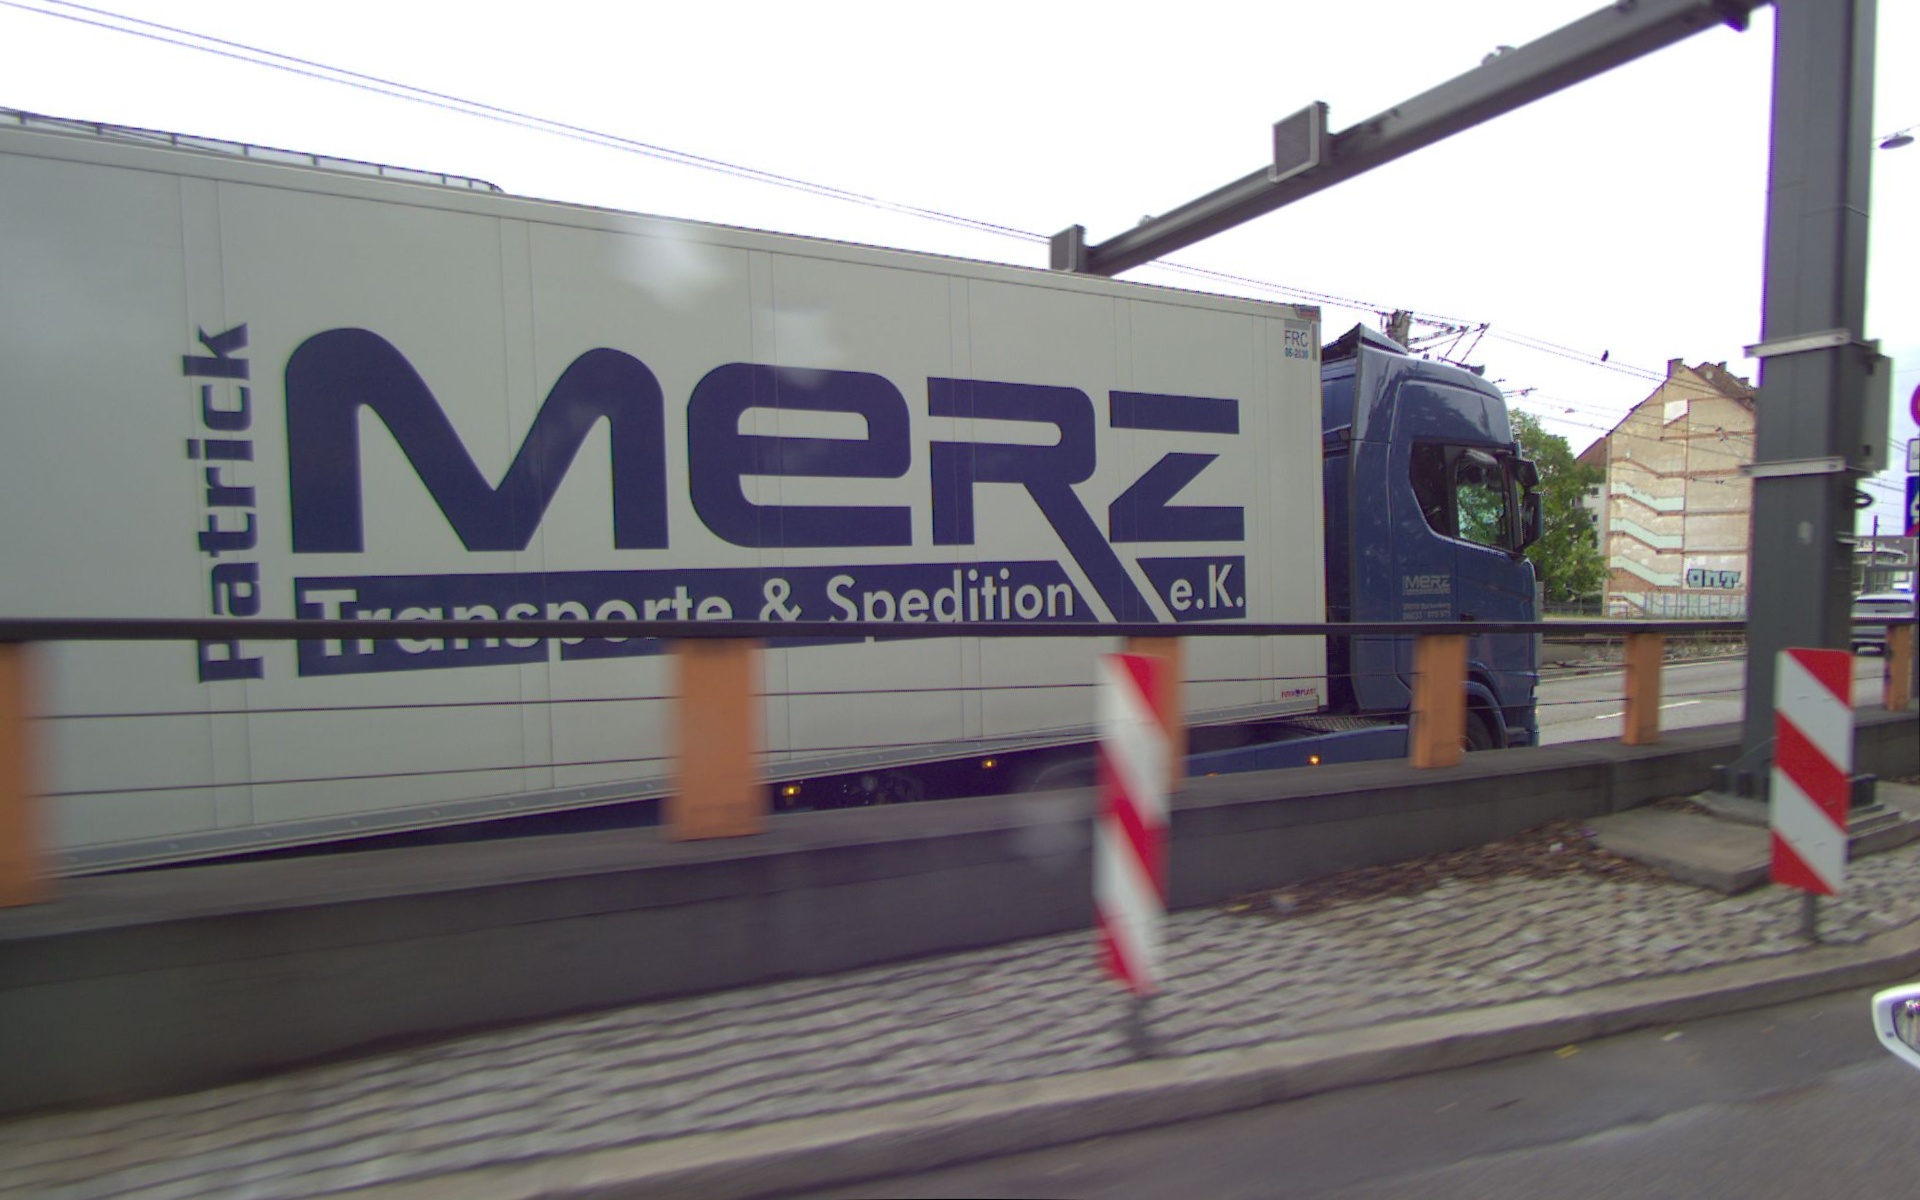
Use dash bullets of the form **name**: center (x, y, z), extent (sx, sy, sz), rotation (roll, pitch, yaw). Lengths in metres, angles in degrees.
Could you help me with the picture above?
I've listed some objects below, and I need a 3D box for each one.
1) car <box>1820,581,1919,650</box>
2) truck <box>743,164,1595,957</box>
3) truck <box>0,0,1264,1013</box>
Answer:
- **car**: center (23.467, 0.383, 25.053), extent (4.042, 1.586, 1.813), rotation (1, 0, -29)
- **truck**: center (1.903, -0.189, 8.260), extent (6.702, 4.253, 2.749), rotation (0, 1, -30)
- **truck**: center (-4.308, -0.626, 4.788), extent (12.868, 4.253, 2.751), rotation (1, 1, -28)
